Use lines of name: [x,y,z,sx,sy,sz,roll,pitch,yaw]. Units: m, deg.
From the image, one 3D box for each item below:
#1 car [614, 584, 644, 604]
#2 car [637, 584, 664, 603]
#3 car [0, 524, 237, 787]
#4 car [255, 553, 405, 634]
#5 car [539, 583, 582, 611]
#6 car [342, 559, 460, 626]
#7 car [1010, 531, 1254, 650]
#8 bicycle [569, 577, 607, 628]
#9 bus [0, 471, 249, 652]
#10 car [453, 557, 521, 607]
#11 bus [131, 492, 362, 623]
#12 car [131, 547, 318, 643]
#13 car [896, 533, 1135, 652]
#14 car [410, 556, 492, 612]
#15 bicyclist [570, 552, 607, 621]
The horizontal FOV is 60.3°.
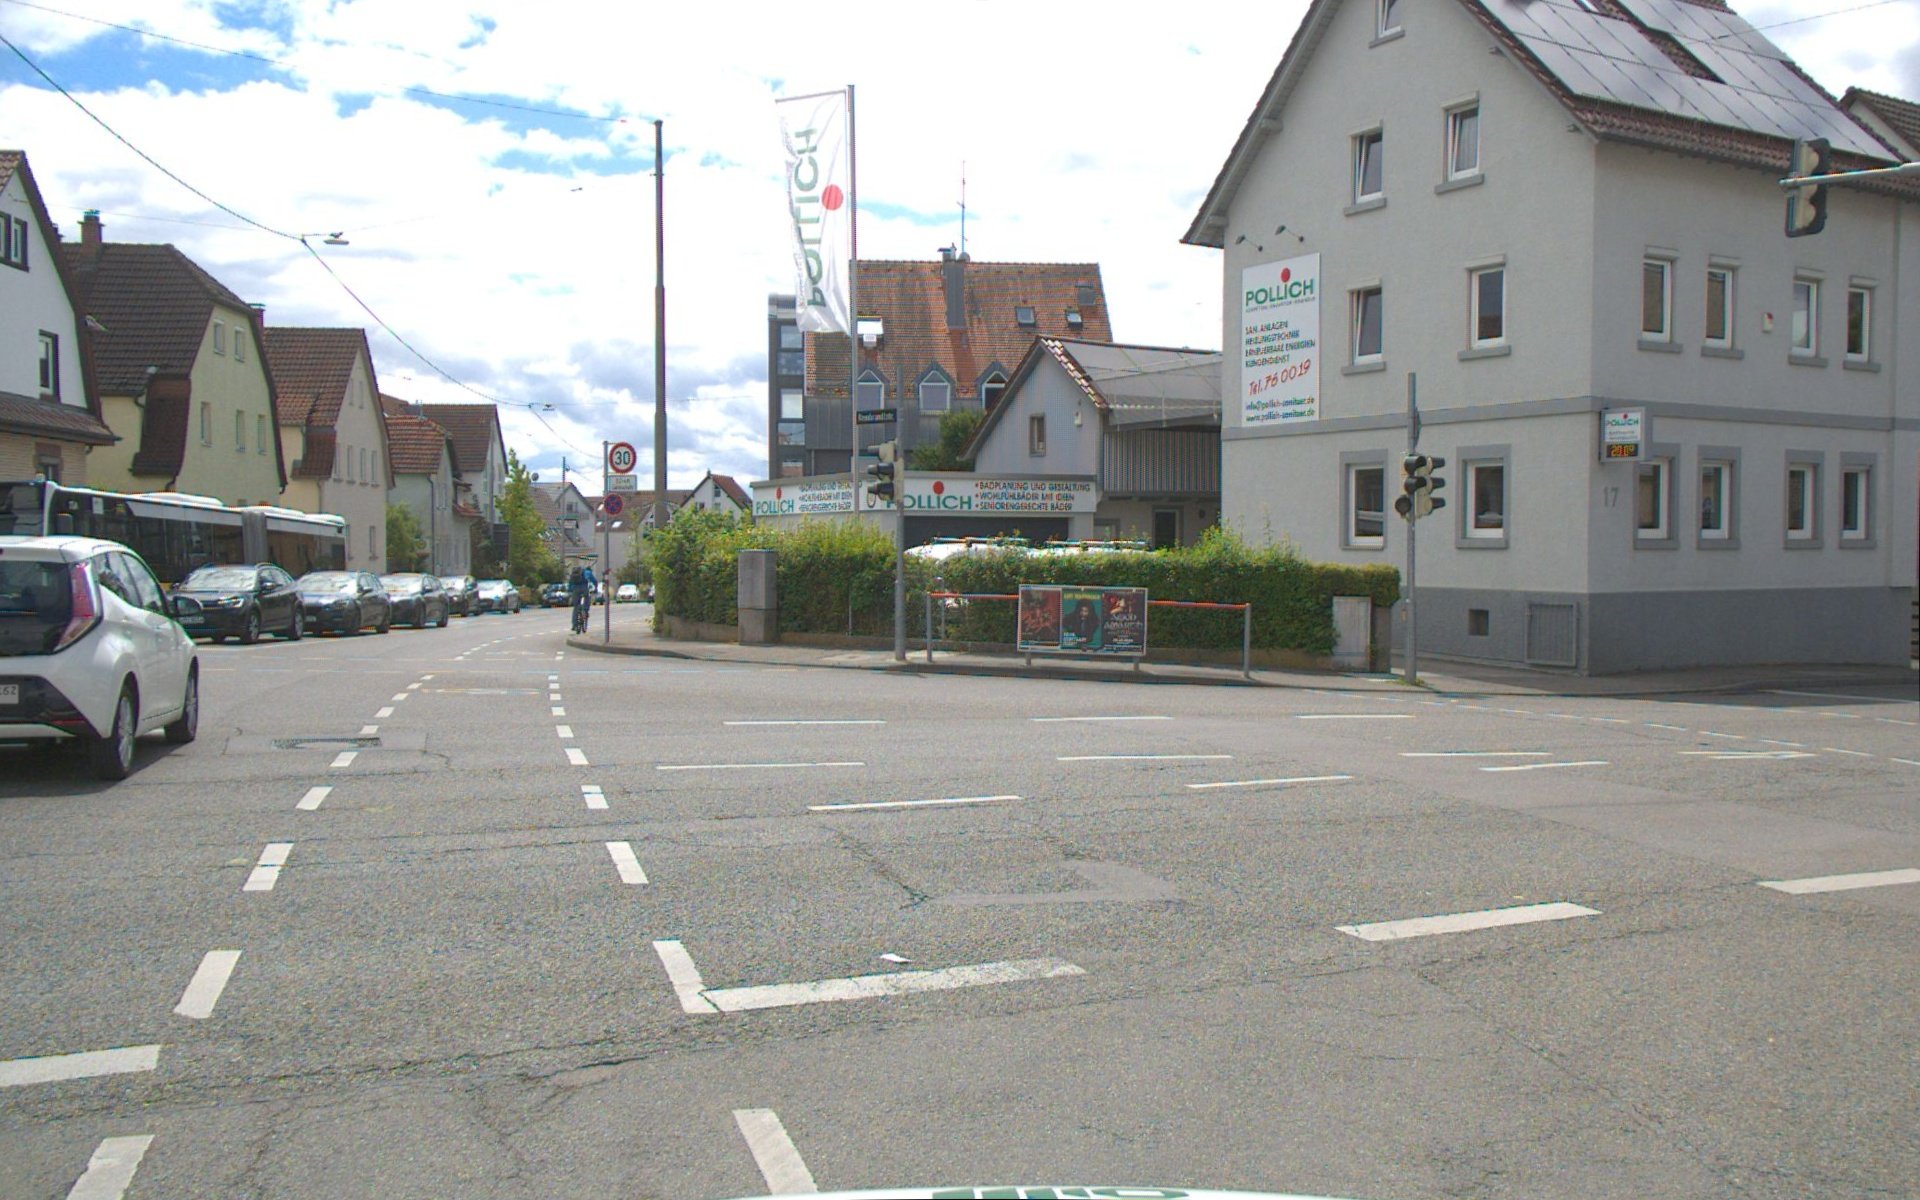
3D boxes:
car: [-28.368,-0.523,141.739,1.954,1.668,3.998,1,1,-4]
car: [-28.384,-0.578,151.764,1.954,1.668,3.998,1,1,-4]
car: [-6.006,0.280,11.023,1.710,1.485,3.517,0,1,-16]
car: [-14.047,-0.178,37.113,1.954,1.668,4.181,1,1,-4]
car: [-24.968,-0.209,103.452,1.954,1.668,3.998,1,1,-4]
car: [-14.769,-0.229,43.917,1.954,1.668,3.998,1,1,-4]
car: [3.079,-0.164,29.560,3.945,1.981,1.980,1,1,-30]
bicycle: [-9.027,0.052,40.110,0.818,1.184,2.183,1,1,-15]
bus: [-17.280,-0.773,33.239,2.724,3.113,9.182,1,1,-5]
car: [-20.395,-0.792,71.401,1.954,2.048,3.998,1,1,-3]
bus: [-18.091,-1.080,42.692,2.724,2.965,9.182,1,1,-5]
car: [-13.930,-0.125,31.568,1.954,1.668,3.998,1,1,-4]
car: [1.022,-0.133,30.295,3.944,2.049,1.981,1,1,-30]
car: [-19.748,-0.643,64.336,1.953,2.048,4.000,1,1,-1]
bicyclist: [-9.028,-0.340,40.139,0.826,1.642,1.079,1,1,-15]
